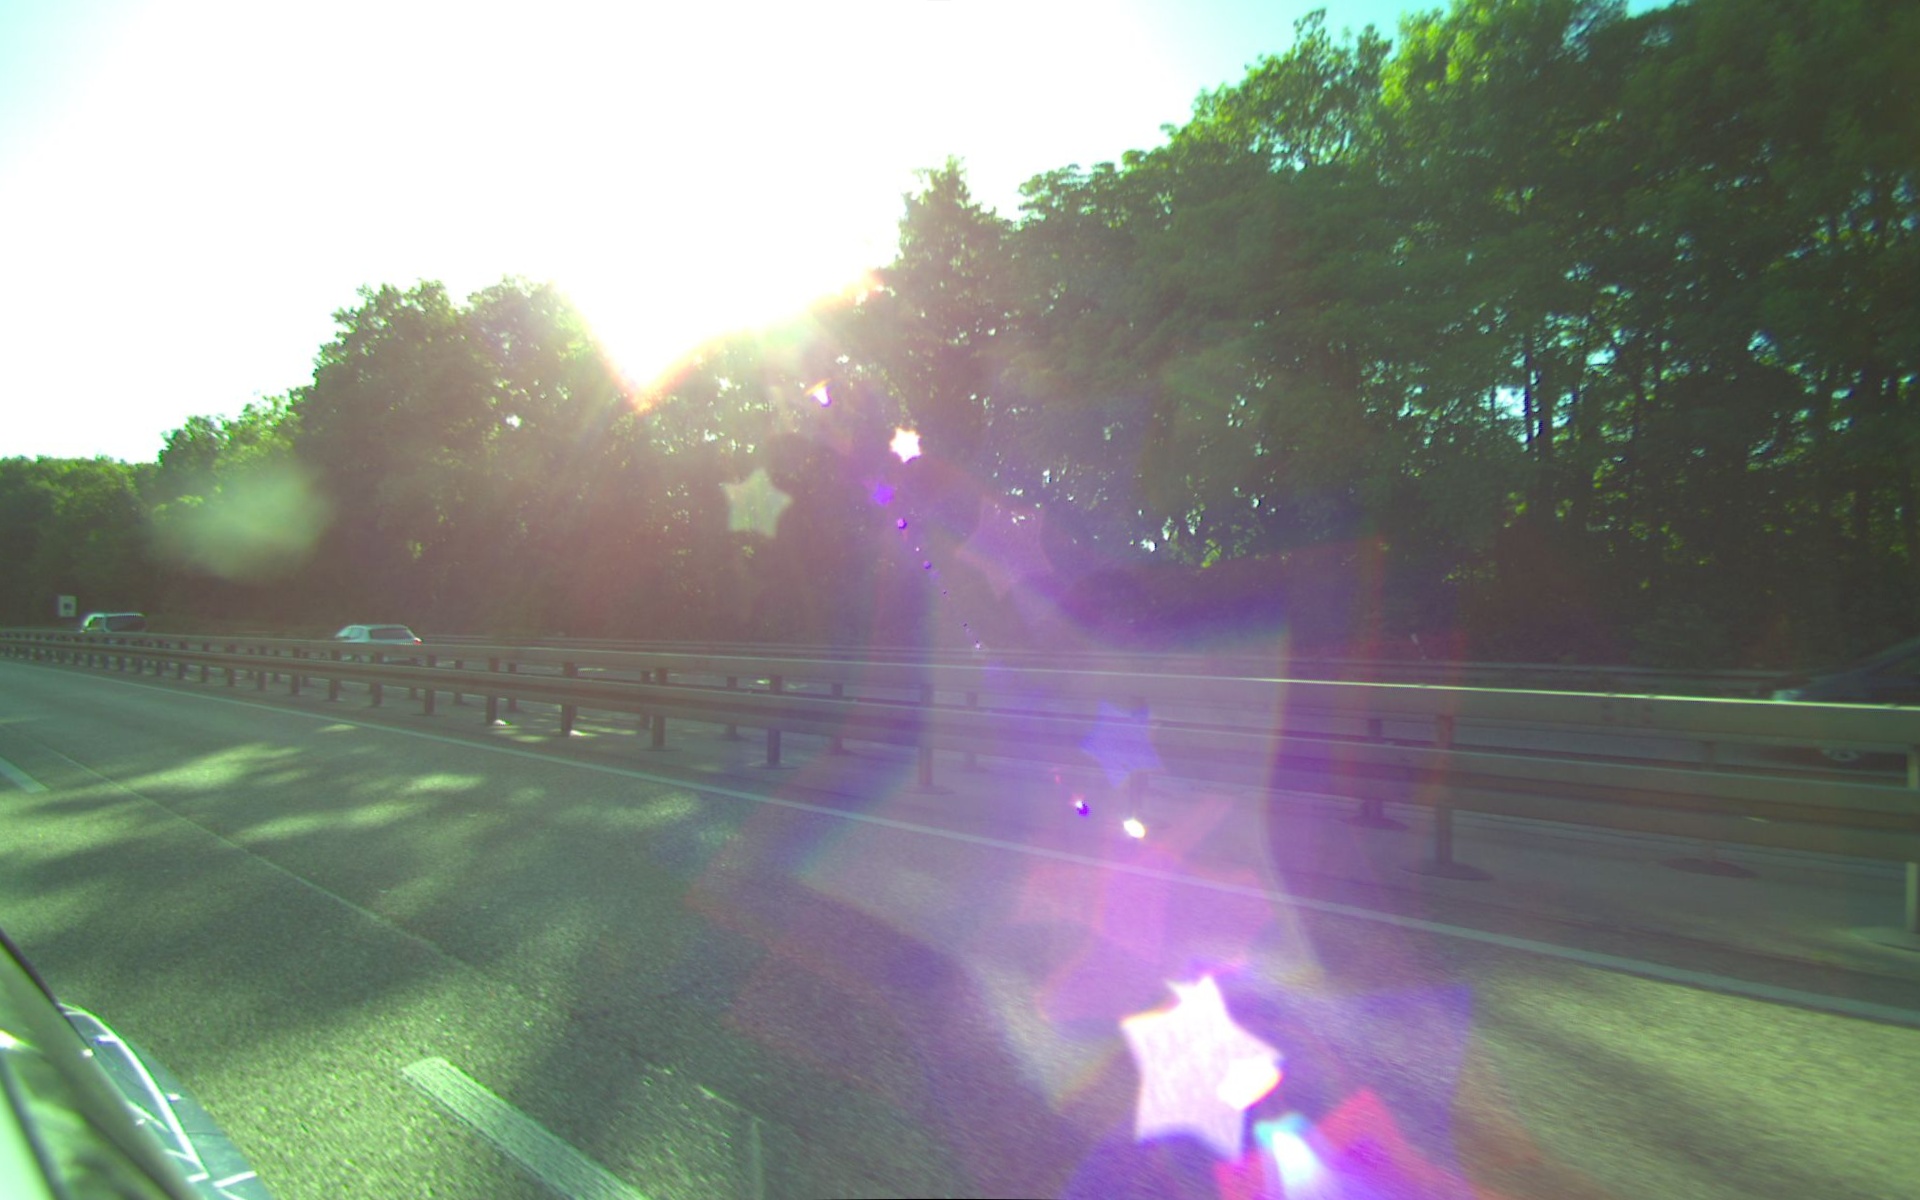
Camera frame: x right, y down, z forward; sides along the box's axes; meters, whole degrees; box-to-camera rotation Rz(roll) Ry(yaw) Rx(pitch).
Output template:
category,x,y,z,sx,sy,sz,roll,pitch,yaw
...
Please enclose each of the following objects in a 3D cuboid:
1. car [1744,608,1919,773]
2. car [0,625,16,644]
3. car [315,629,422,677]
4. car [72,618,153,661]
category,x,y,z,sx,sy,sz,roll,pitch,yaw
car,10.851,0.926,10.093,4.674,1.651,1.580,-2,-4,42
car,-81.866,2.904,85.849,3.994,1.597,1.975,-1,-3,37
car,-17.518,1.539,29.912,3.909,1.324,1.580,-2,-4,42
car,-39.939,1.873,47.636,5.409,1.917,1.869,-1,-4,39
